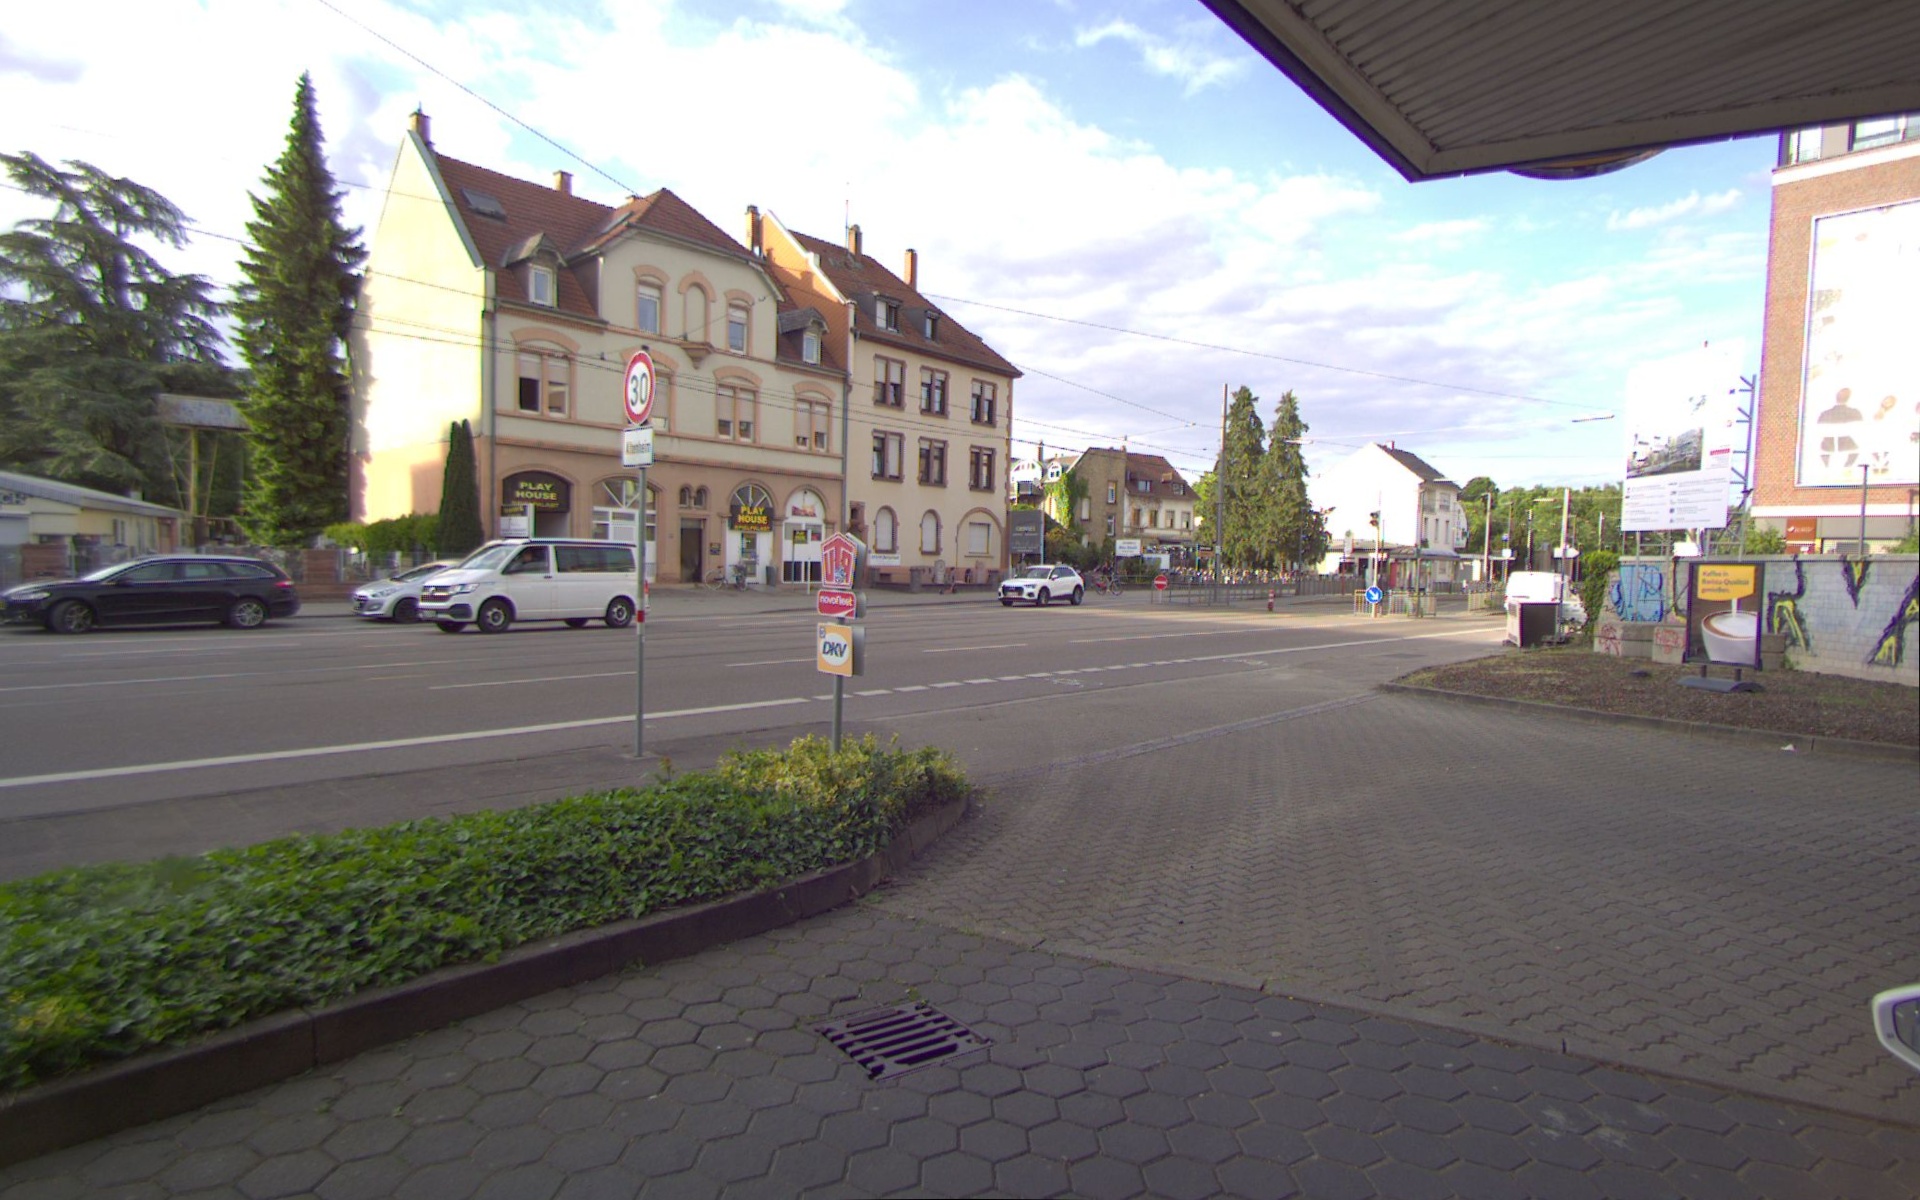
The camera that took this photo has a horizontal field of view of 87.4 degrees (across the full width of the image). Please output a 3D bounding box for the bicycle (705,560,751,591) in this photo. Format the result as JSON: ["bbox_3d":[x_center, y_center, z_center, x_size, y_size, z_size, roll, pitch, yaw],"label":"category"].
[{"bbox_3d":[-9.143,-0.953,39.711,0.508,1.189,1.809,4,2,40],"label":"bicycle"}]

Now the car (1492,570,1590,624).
[{"bbox_3d":[22.124,-0.118,38.205,4.379,1.915,1.944,0,3,-43],"label":"car"}]

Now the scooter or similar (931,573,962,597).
[{"bbox_3d":[-0.598,-0.689,45.137,0.488,1.015,1.592,5,5,39],"label":"scooter or similar"}]

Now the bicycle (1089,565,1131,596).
[{"bbox_3d":[7.904,-1.047,53.040,1.962,1.512,0.785,2,4,-21],"label":"bicycle"}]

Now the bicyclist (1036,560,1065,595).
[{"bbox_3d":[4.377,-1.104,48.531,0.953,1.579,0.839,1,6,-31],"label":"bicyclist"}]

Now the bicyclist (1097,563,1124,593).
[{"bbox_3d":[7.957,-1.181,53.050,1.079,1.512,0.785,2,4,-20],"label":"bicyclist"}]

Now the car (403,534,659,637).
[{"bbox_3d":[-9.225,-0.370,22.032,1.967,1.995,4.872,2,3,35],"label":"car"}]

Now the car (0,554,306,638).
[{"bbox_3d":[-16.570,-0.147,20.734,1.970,1.516,4.801,3,3,40],"label":"car"}]

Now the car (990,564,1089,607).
[{"bbox_3d":[3.195,-0.609,39.600,1.812,1.598,4.362,1,2,38],"label":"car"}]

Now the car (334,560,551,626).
[{"bbox_3d":[-13.002,-0.245,25.466,1.970,1.495,4.467,3,3,40],"label":"car"}]
